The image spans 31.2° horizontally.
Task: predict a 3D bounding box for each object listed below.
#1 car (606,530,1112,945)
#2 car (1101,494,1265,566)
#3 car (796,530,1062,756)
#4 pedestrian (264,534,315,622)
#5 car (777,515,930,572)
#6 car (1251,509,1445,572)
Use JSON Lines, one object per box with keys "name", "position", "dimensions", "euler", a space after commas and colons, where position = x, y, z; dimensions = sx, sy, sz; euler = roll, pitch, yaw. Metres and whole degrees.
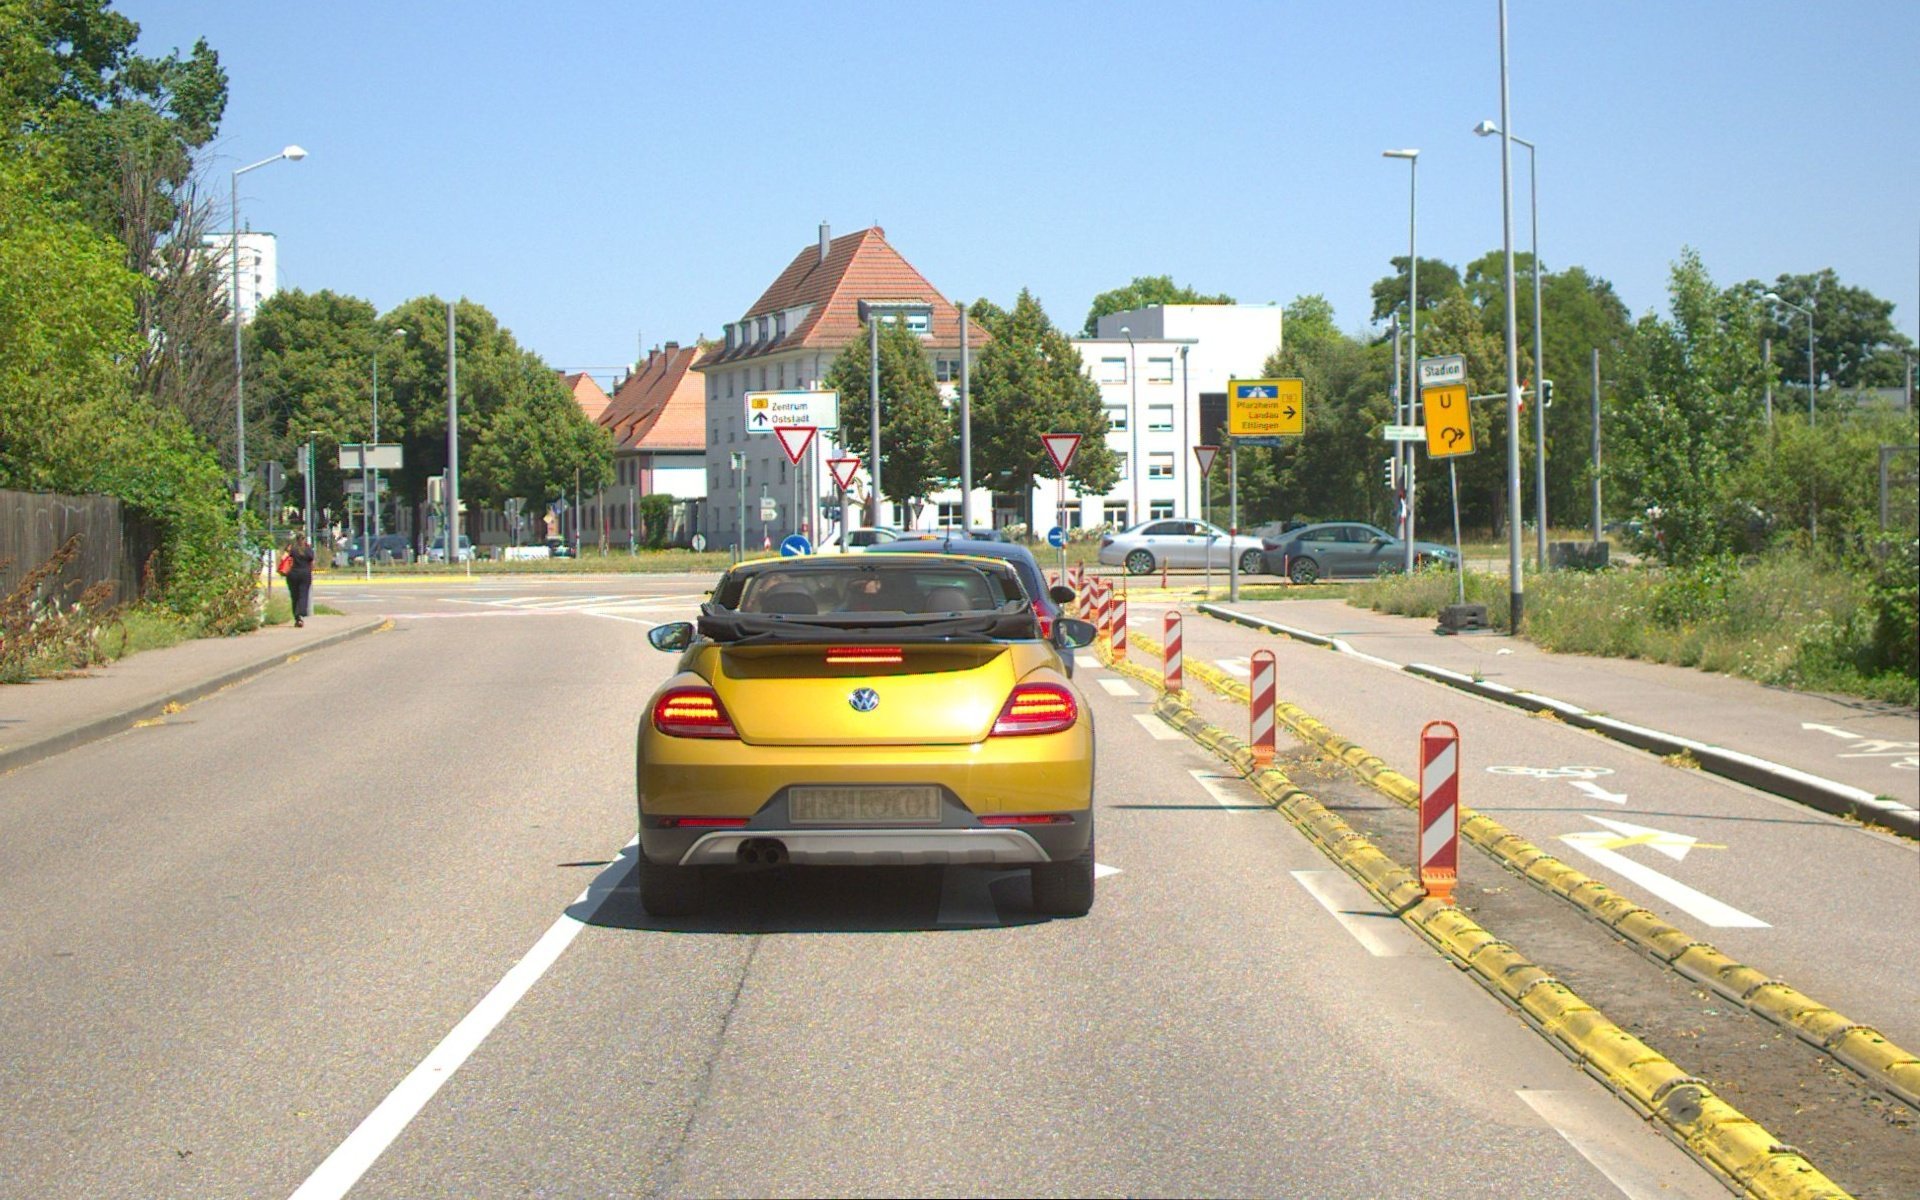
{"name": "car", "position": [-0.424, 0.456, 14.266], "dimensions": [1.790, 1.431, 3.814], "euler": [-1, 1, -2]}
{"name": "car", "position": [5.763, -1.814, 88.720], "dimensions": [4.074, 1.738, 1.566], "euler": [-1, 1, 8]}
{"name": "car", "position": [-0.208, 0.244, 24.694], "dimensions": [1.726, 1.438, 4.000], "euler": [-1, 1, 0]}
{"name": "pedestrian", "position": [-11.213, -0.372, 57.506], "dimensions": [0.722, 1.449, 0.818], "euler": [-1, 1, -4]}
{"name": "car", "position": [-2.539, -1.346, 81.998], "dimensions": [3.438, 1.271, 1.202], "euler": [-1, 1, 10]}
{"name": "car", "position": [9.094, -1.395, 80.428], "dimensions": [4.441, 1.353, 1.537], "euler": [-1, 2, 8]}
